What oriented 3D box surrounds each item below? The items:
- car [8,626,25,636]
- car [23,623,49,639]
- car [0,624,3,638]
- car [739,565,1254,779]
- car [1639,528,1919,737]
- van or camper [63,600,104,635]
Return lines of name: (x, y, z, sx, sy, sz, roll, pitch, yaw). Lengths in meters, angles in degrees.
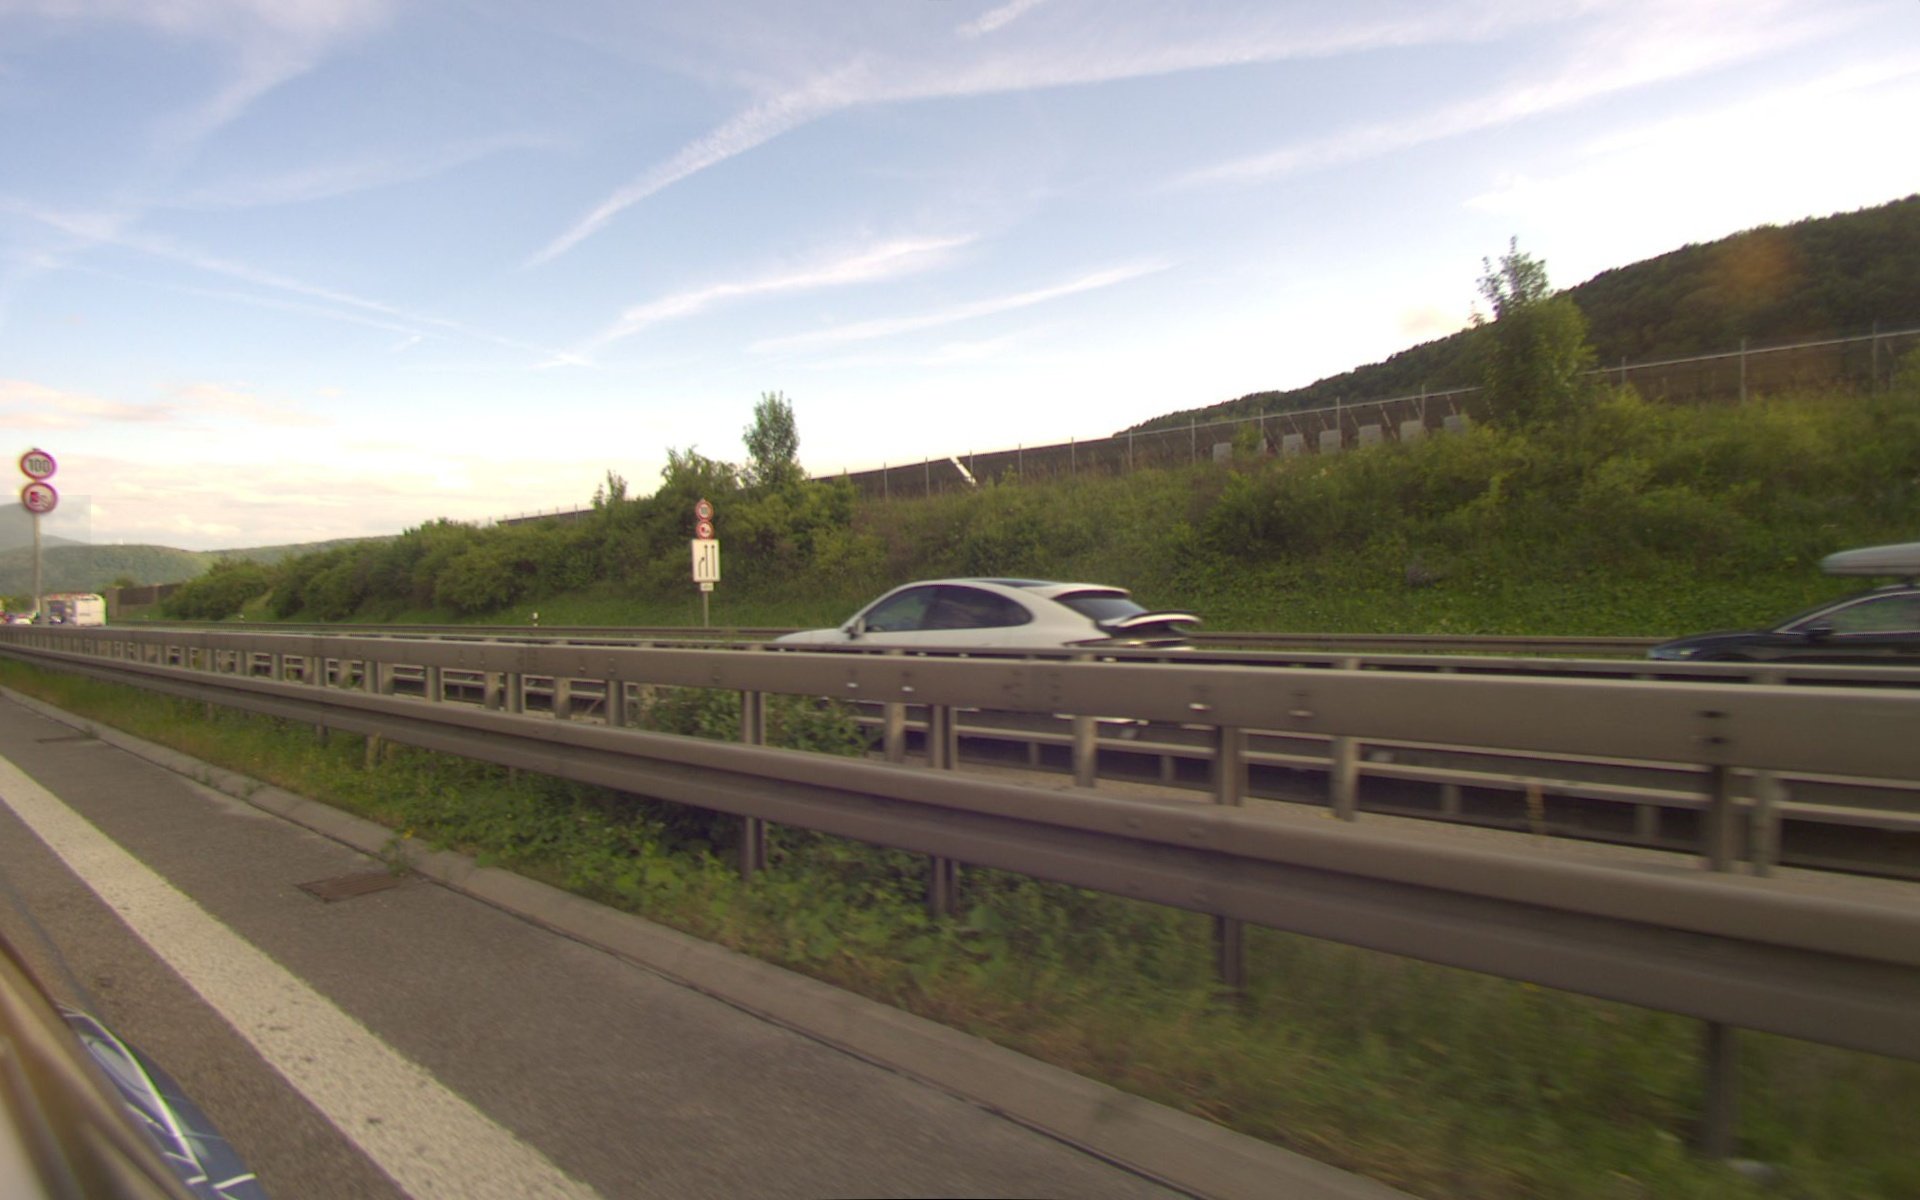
car: (-143.046, 4.719, 153.429, 4.347, 1.446, 1.625, -1, 0, 45)
car: (-95.774, 3.196, 104.879, 4.345, 1.669, 1.625, -1, -1, 43)
car: (-96.572, 3.069, 100.691, 3.764, 1.420, 1.760, -1, -1, 44)
car: (0.122, 0.568, 9.938, 5.016, 1.603, 1.814, -1, 0, 40)
car: (10.213, 0.306, 10.544, 5.016, 2.055, 1.942, -1, 0, 40)
van or camper: (-92.915, 1.895, 107.185, 7.977, 3.578, 2.455, -1, -1, 43)
